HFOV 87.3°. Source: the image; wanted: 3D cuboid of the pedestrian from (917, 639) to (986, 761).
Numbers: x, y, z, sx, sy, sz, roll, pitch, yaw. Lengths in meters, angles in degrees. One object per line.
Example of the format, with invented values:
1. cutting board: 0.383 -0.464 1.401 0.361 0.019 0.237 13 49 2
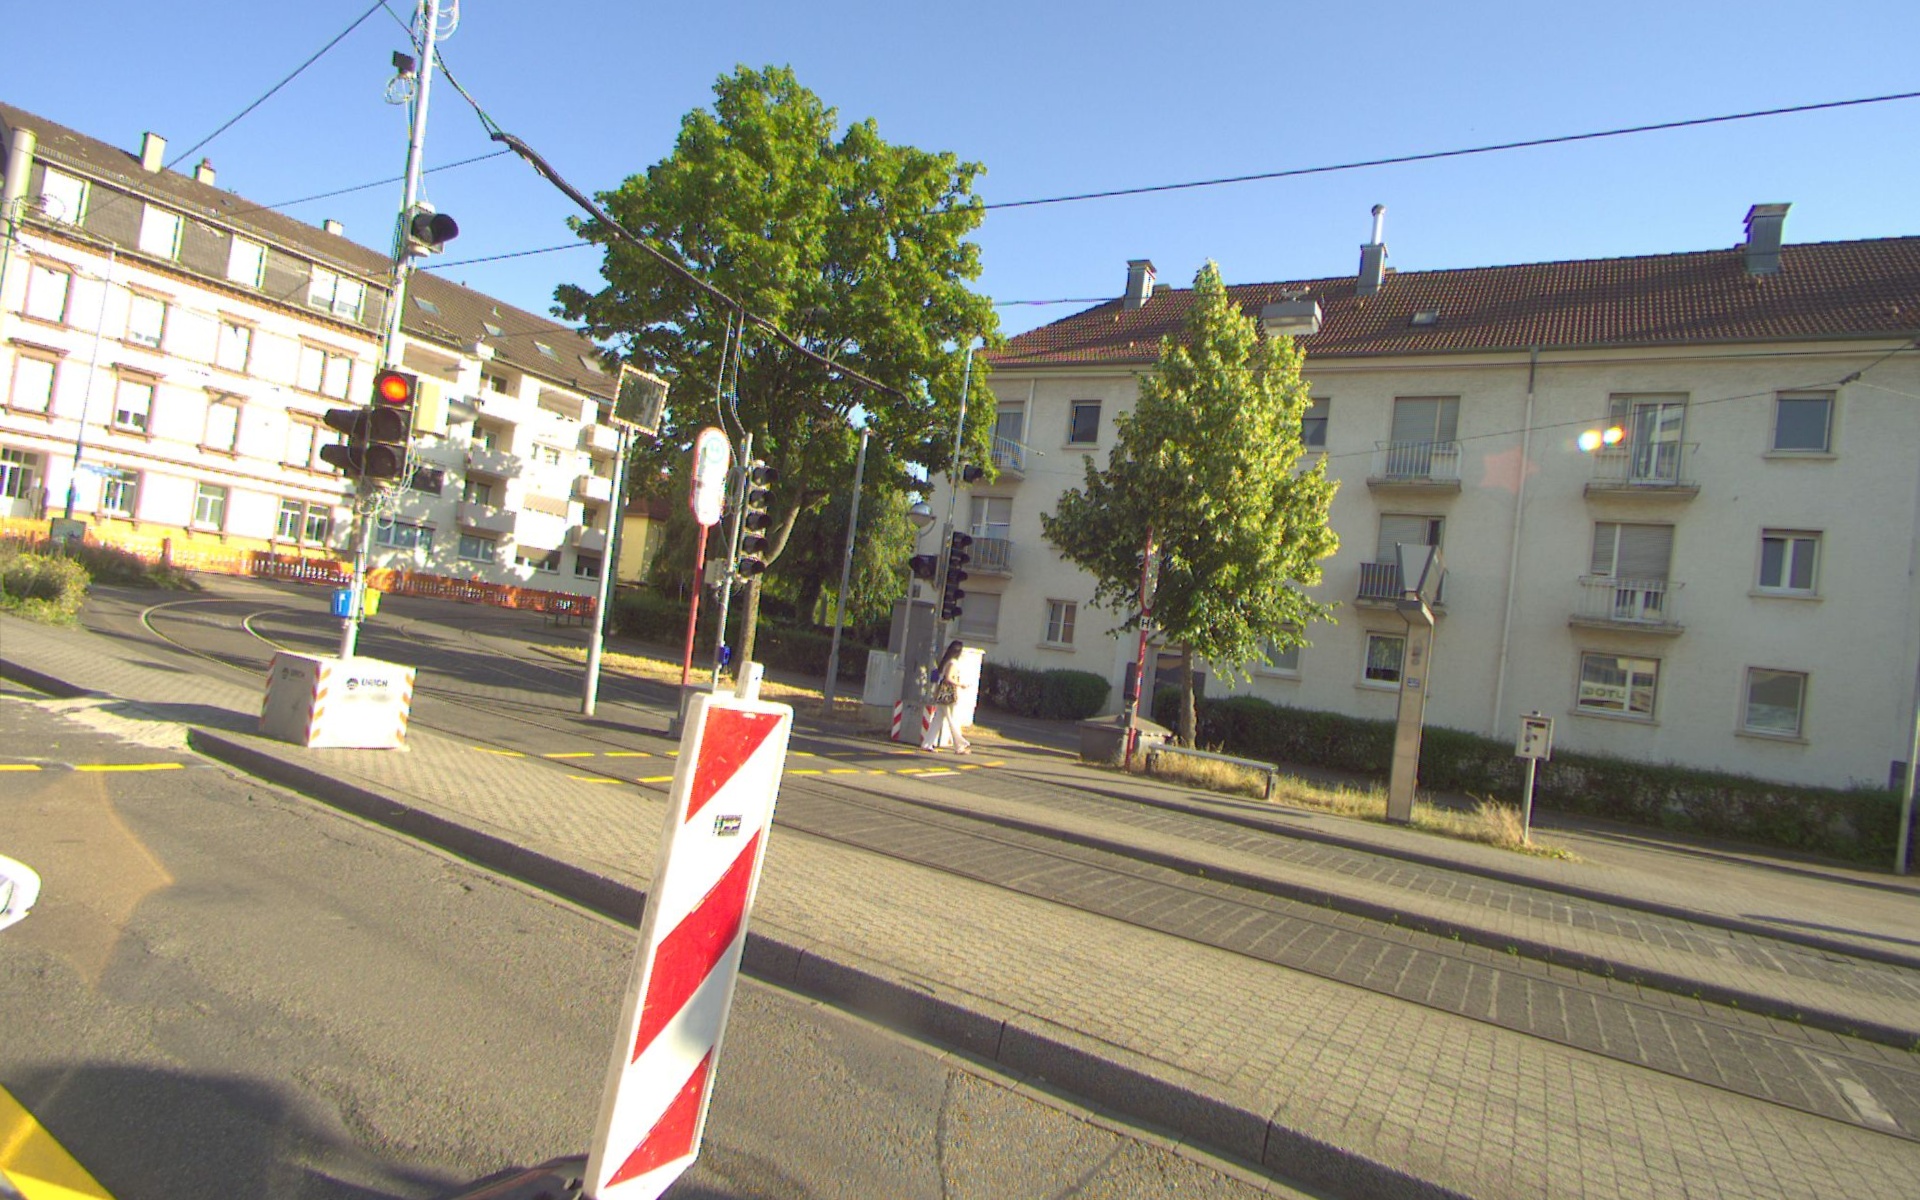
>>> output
1. pedestrian: -0.138 1.441 14.758 0.777 1.639 0.826 7 -1 -3
